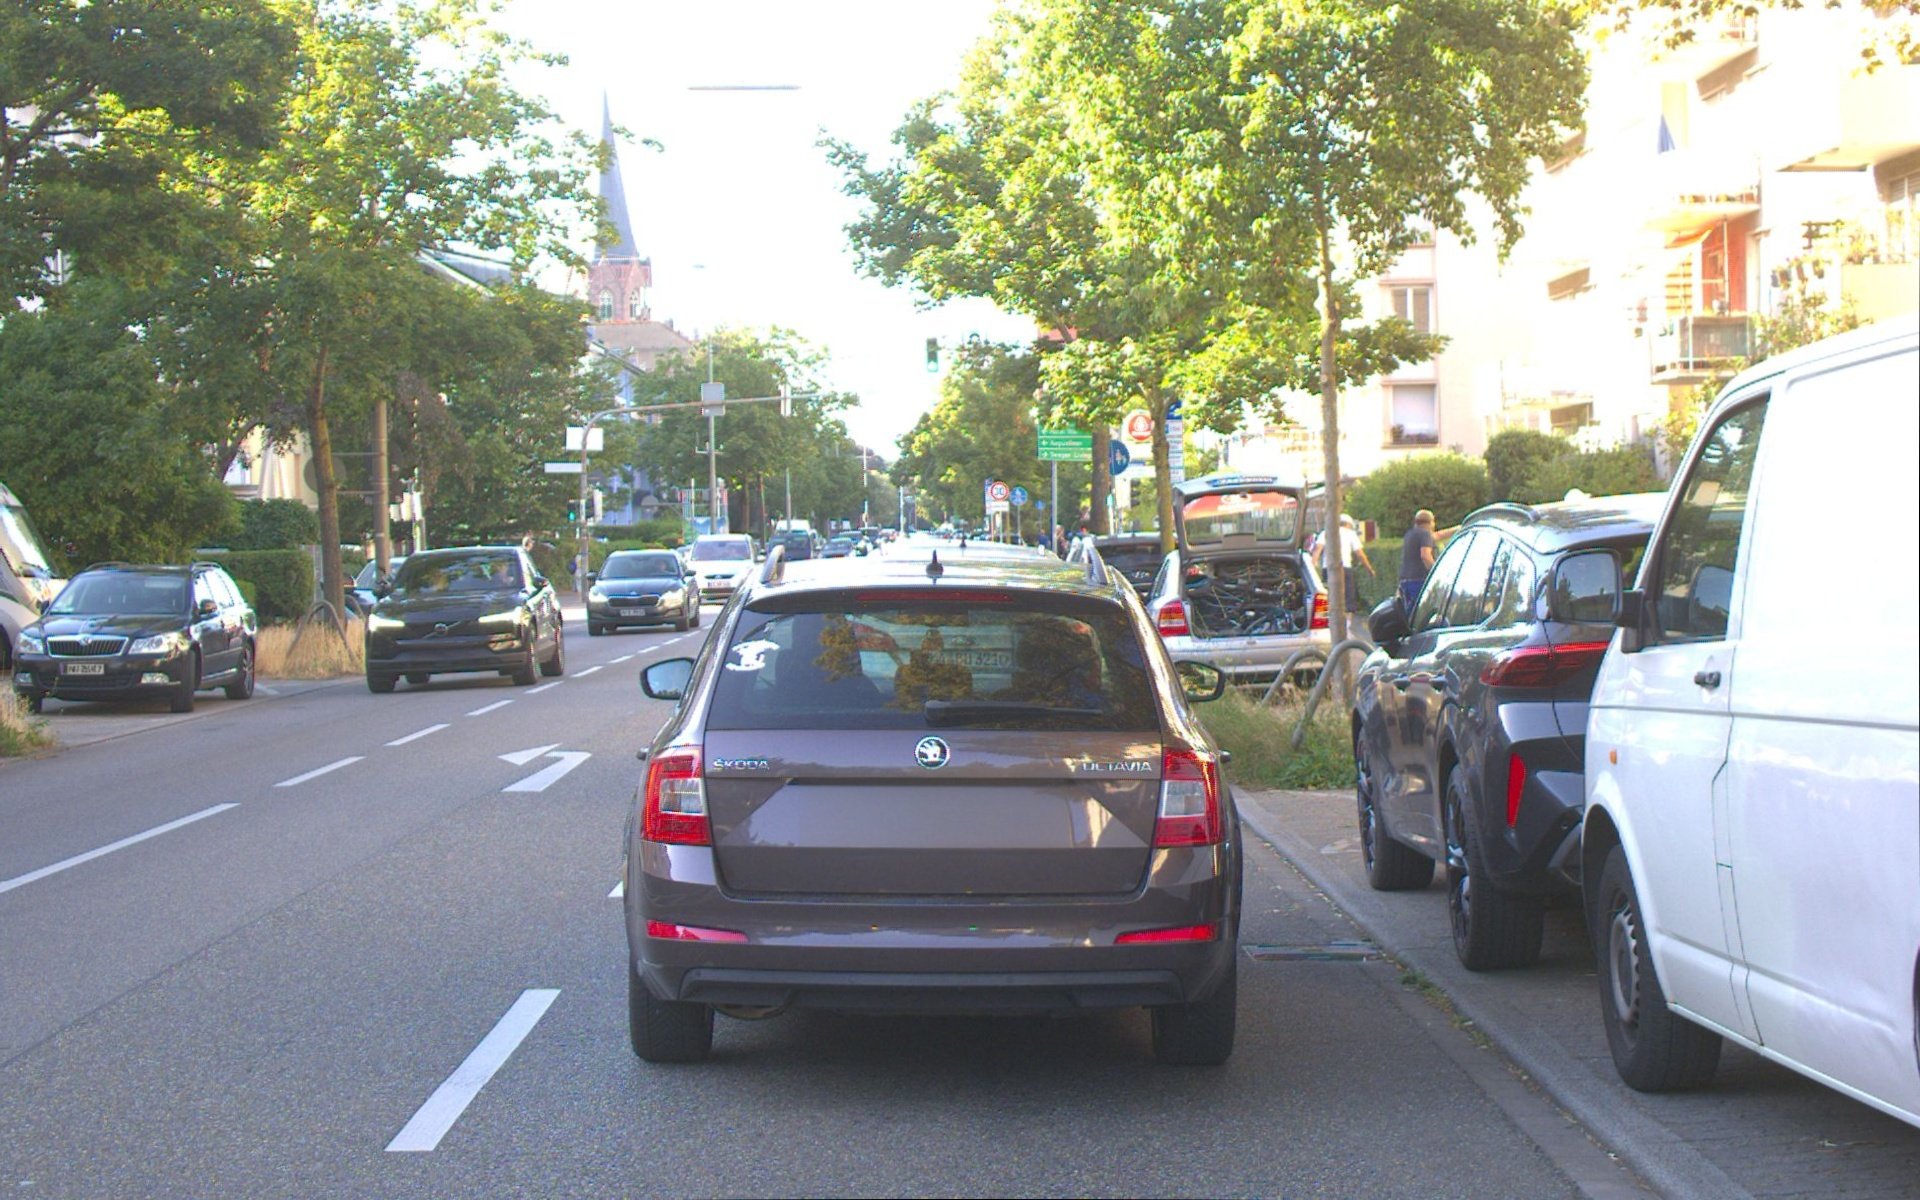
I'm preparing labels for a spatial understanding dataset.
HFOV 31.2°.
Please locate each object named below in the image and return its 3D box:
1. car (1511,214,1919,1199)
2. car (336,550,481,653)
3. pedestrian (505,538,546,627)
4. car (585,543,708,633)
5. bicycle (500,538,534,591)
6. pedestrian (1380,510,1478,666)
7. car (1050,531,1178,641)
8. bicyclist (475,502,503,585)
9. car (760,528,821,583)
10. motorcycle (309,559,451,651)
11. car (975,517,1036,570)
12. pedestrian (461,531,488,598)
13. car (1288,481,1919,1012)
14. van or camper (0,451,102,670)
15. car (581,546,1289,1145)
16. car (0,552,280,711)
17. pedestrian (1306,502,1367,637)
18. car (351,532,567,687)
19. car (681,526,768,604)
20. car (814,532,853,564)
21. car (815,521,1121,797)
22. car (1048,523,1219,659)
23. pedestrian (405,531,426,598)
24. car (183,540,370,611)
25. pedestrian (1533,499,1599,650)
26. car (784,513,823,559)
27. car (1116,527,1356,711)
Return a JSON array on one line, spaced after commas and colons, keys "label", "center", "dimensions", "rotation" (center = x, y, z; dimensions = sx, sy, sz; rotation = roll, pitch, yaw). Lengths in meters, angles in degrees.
[{"label": "car", "center": [2.651, 0.307, 7.671], "dimensions": [1.903, 2.096, 4.641], "rotation": [-1, 1, -2]}, {"label": "car", "center": [-8.357, -0.006, 52.339], "dimensions": [1.593, 1.465, 3.804], "rotation": [1, 1, 0]}, {"label": "pedestrian", "center": [-9.845, -0.410, 77.884], "dimensions": [0.780, 1.981, 0.821], "rotation": [-2, 1, 0]}, {"label": "car", "center": [-5.627, -0.247, 62.152], "dimensions": [1.760, 1.447, 4.534], "rotation": [-3, 1, 0]}, {"label": "bicycle", "center": [-8.906, -0.719, 69.169], "dimensions": [0.486, 1.060, 1.534], "rotation": [-1, 1, -1]}, {"label": "pedestrian", "center": [4.991, -0.127, 36.568], "dimensions": [0.757, 1.634, 0.694], "rotation": [-1, 1, 36]}, {"label": "car", "center": [2.192, -0.231, 49.530], "dimensions": [1.703, 1.445, 4.013], "rotation": [-3, 1, 2]}, {"label": "bicyclist", "center": [-9.502, -1.144, 69.398], "dimensions": [0.468, 1.657, 0.552], "rotation": [-1, 1, -1]}, {"label": "car", "center": [-6.294, -1.663, 128.300], "dimensions": [1.993, 1.902, 4.964], "rotation": [-3, 1, -1]}, {"label": "motorcycle", "center": [-8.199, 0.080, 48.587], "dimensions": [2.052, 1.260, 0.765], "rotation": [-1, 1, 38]}, {"label": "car", "center": [1.585, -1.953, 118.920], "dimensions": [1.994, 1.766, 4.000], "rotation": [1, 1, 2]}, {"label": "pedestrian", "center": [-13.243, -0.976, 93.713], "dimensions": [0.616, 1.790, 0.504], "rotation": [-2, 1, 0]}, {"label": "car", "center": [2.467, 0.417, 13.122], "dimensions": [1.856, 1.598, 4.312], "rotation": [-4, 1, -1]}, {"label": "van or camper", "center": [-14.854, -0.579, 44.668], "dimensions": [6.797, 2.763, 2.352], "rotation": [1, 1, -1]}, {"label": "car", "center": [-0.096, 0.582, 10.773], "dimensions": [1.773, 1.484, 4.311], "rotation": [0, 1, -1]}, {"label": "car", "center": [-8.383, 0.273, 35.417], "dimensions": [1.867, 1.489, 4.517], "rotation": [0, 1, 0]}, {"label": "pedestrian", "center": [4.952, -0.404, 45.255], "dimensions": [0.662, 1.743, 0.772], "rotation": [-3, 1, 2]}, {"label": "car", "center": [-5.597, 0.081, 38.862], "dimensions": [1.835, 1.565, 4.000], "rotation": [-3, 1, -1]}, {"label": "car", "center": [-5.809, -0.879, 85.192], "dimensions": [1.805, 1.798, 4.746], "rotation": [-3, 1, -1]}, {"label": "car", "center": [-6.485, -2.678, 177.065], "dimensions": [1.830, 1.574, 4.000], "rotation": [-2, 1, 0]}, {"label": "car", "center": [0.058, 0.303, 21.772], "dimensions": [1.737, 1.565, 4.000], "rotation": [1, 1, 0]}, {"label": "car", "center": [2.171, -0.150, 43.998], "dimensions": [1.855, 1.576, 4.014], "rotation": [-3, 1, -1]}, {"label": "pedestrian", "center": [-14.735, -0.954, 93.036], "dimensions": [0.449, 1.790, 0.504], "rotation": [-2, 1, 0]}, {"label": "car", "center": [-18.381, -0.673, 92.634], "dimensions": [4.634, 1.805, 1.862], "rotation": [-1, 1, -1]}, {"label": "pedestrian", "center": [6.636, -0.279, 37.639], "dimensions": [0.474, 1.634, 0.536], "rotation": [-2, 1, -19]}, {"label": "car", "center": [-8.697, -3.579, 191.434], "dimensions": [1.993, 2.469, 4.000], "rotation": [-1, 1, 0]}, {"label": "car", "center": [2.452, 0.123, 31.457], "dimensions": [1.708, 1.475, 4.269], "rotation": [-3, 1, -1]}]
